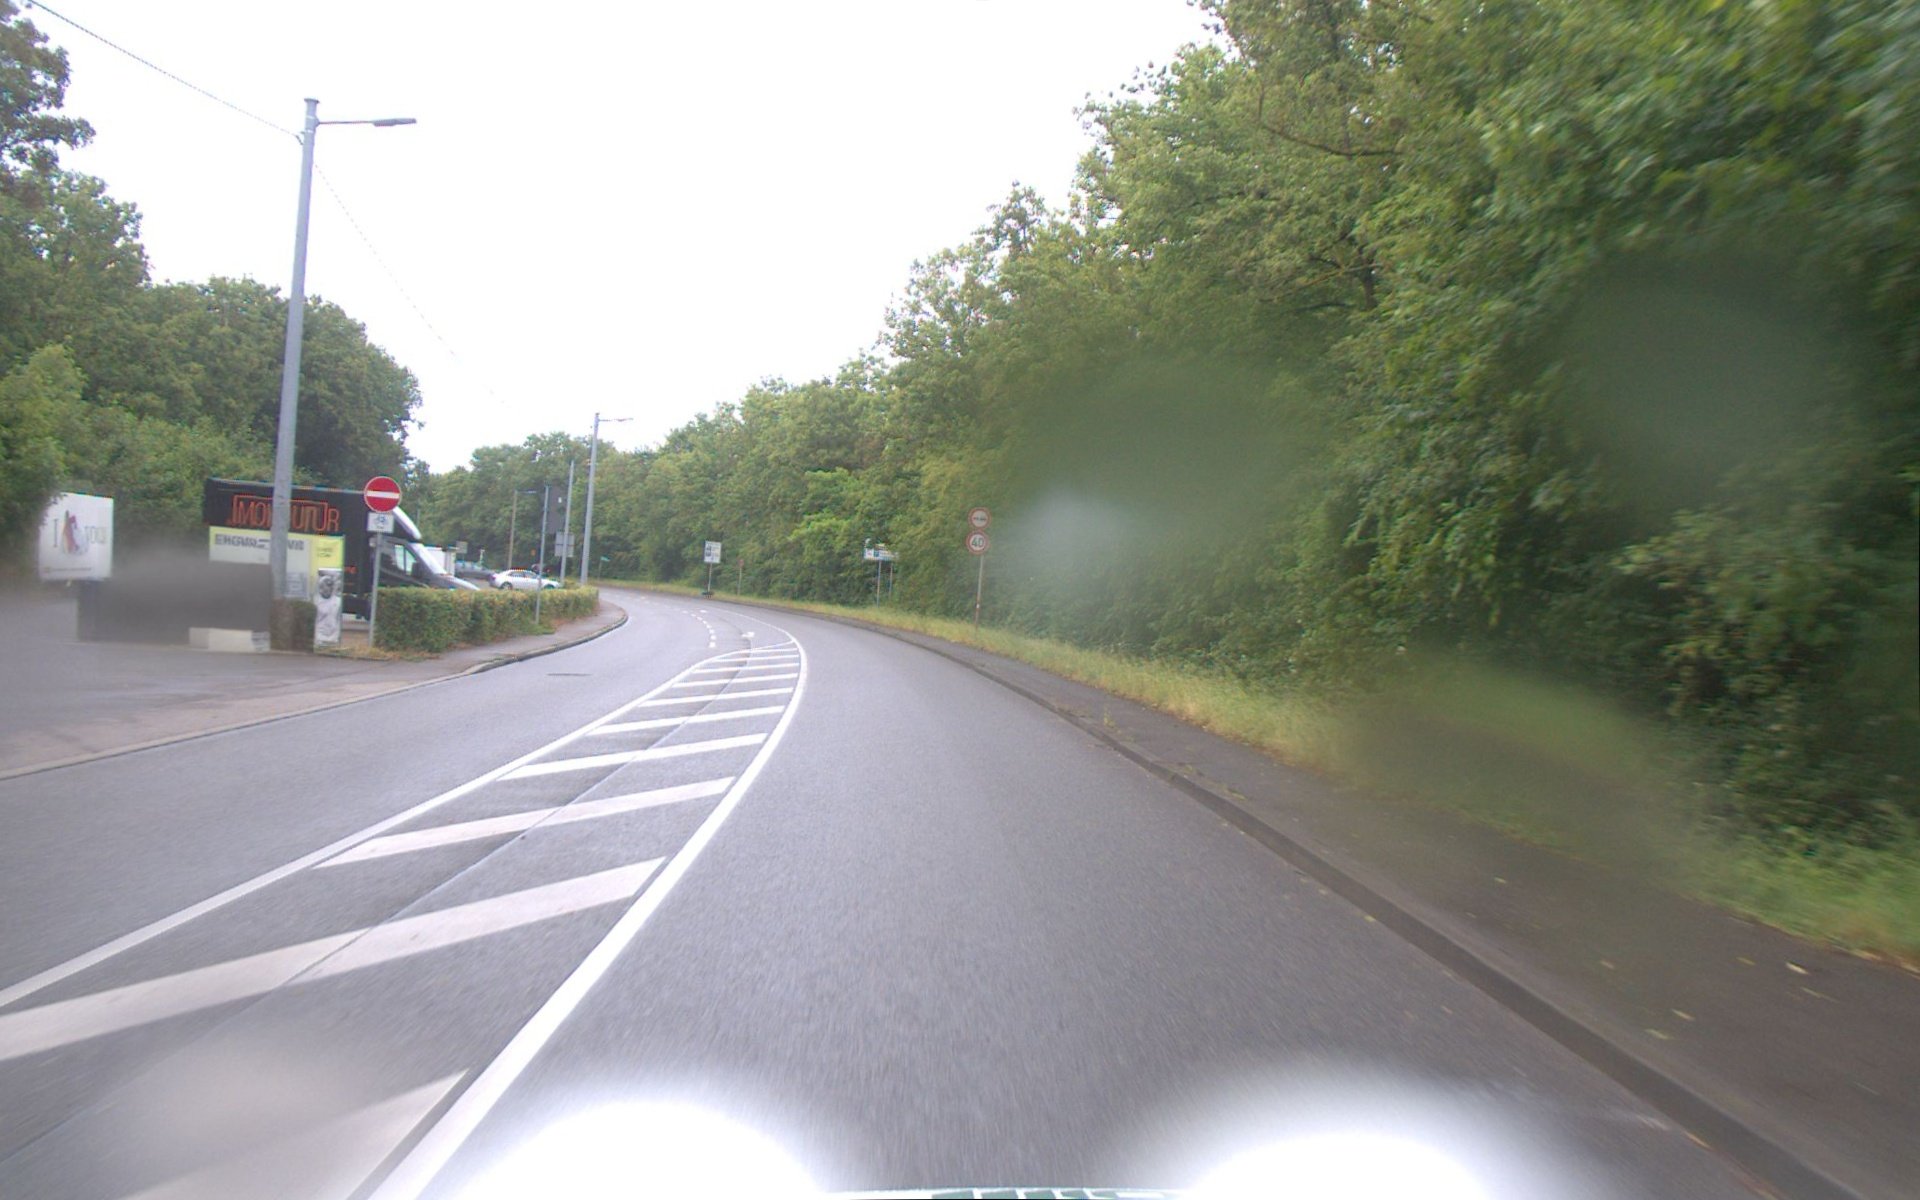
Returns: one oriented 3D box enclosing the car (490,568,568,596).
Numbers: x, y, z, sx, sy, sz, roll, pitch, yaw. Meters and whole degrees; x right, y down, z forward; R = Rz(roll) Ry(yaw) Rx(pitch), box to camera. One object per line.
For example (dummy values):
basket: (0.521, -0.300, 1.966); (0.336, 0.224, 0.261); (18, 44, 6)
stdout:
car: (-27.276, -1.155, 104.755); (4.513, 1.532, 1.986); (3, 0, -23)

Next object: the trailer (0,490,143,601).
trailer: (-26.197, -1.498, 47.829); (2.431, 2.924, 7.957); (2, 0, -11)

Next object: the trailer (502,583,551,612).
trailer: (-16.929, -0.098, 64.641); (1.771, 1.052, 1.329); (2, 0, -14)

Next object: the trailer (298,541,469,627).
trailer: (-15.283, -0.420, 44.023); (3.912, 2.088, 1.870); (2, 0, -8)

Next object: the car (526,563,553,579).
car: (-46.173, -3.183, 181.395); (1.913, 1.524, 4.279); (2, 1, -28)

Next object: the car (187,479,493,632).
car: (-14.321, -0.975, 38.673); (6.159, 3.168, 2.744); (3, -1, -11)

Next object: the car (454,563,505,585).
car: (-43.048, -2.345, 148.056); (4.227, 1.738, 1.989); (3, 0, -20)
